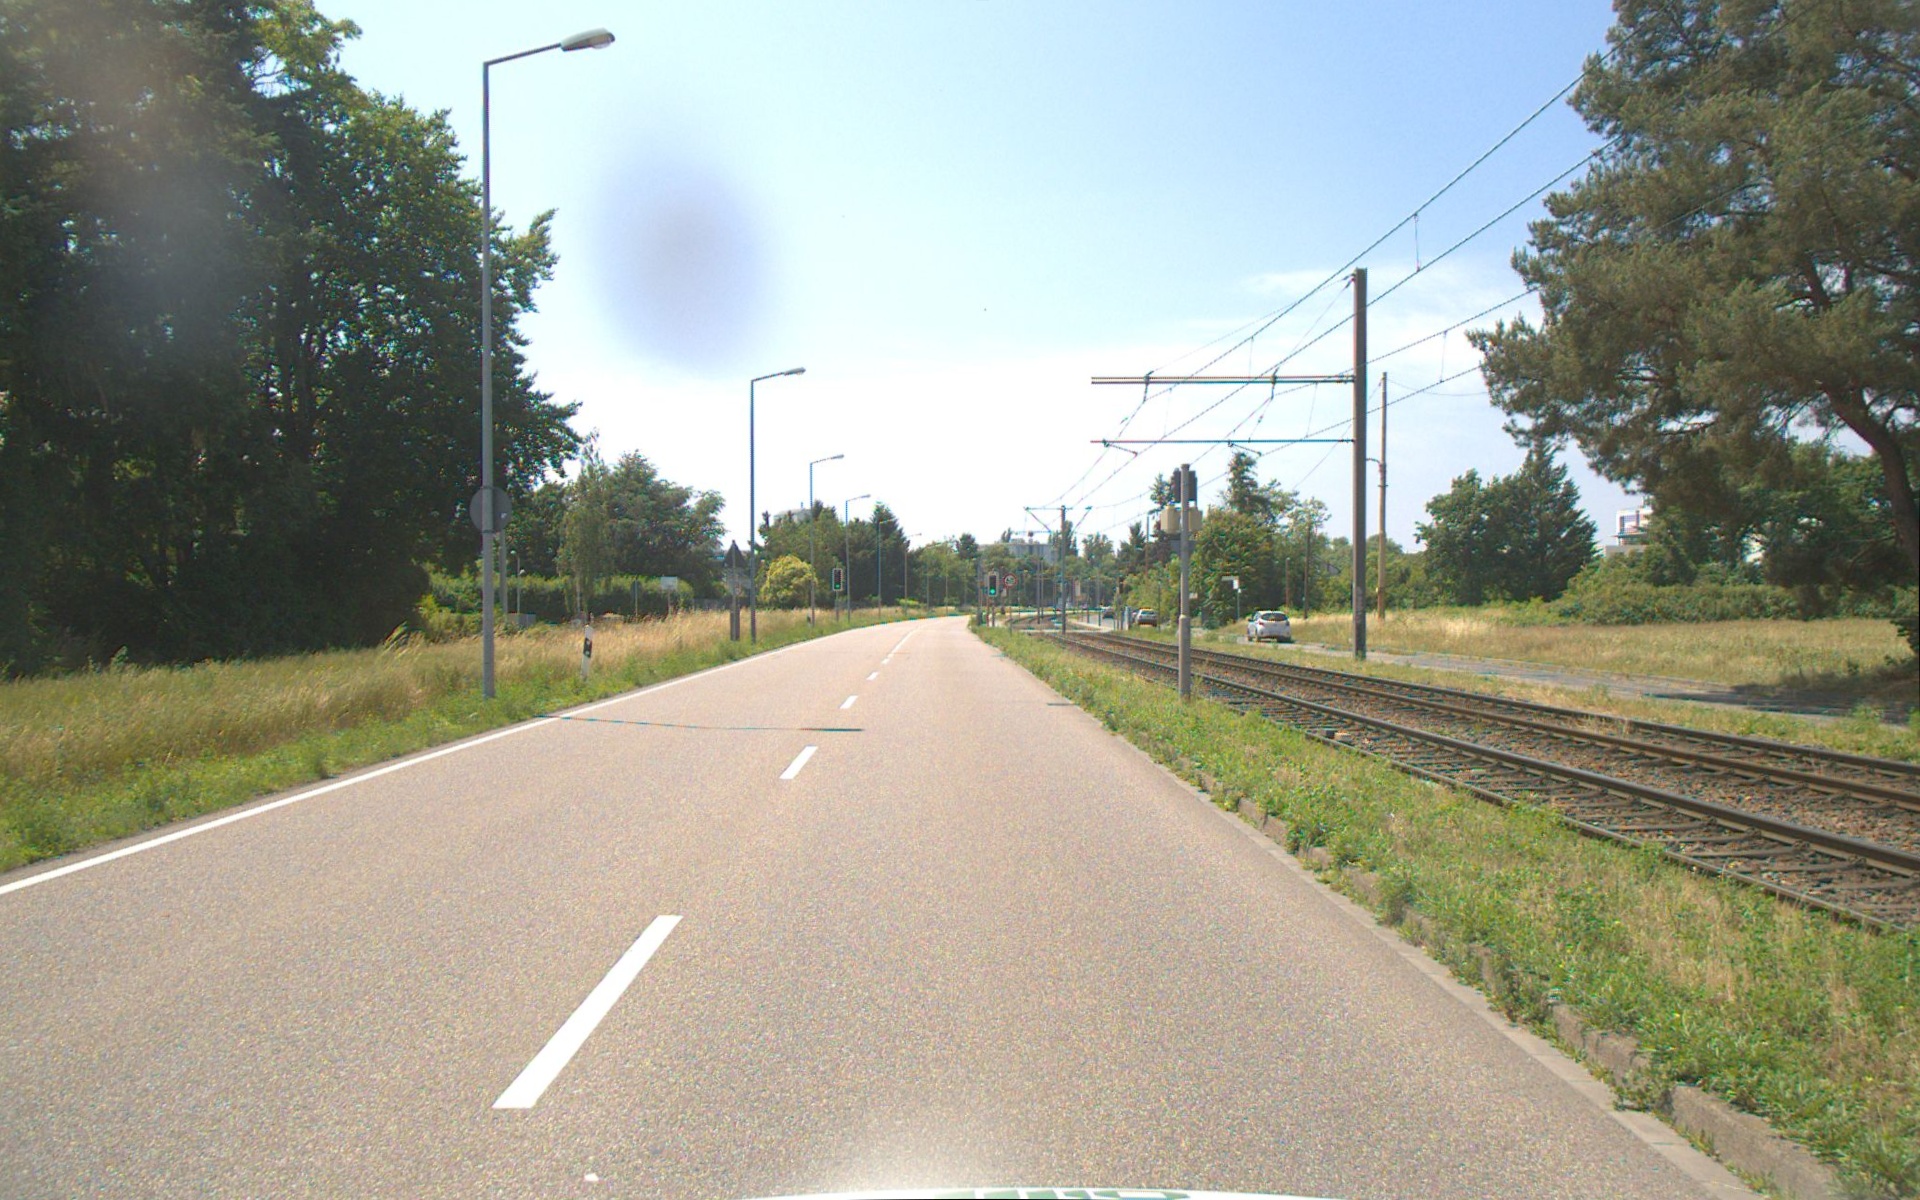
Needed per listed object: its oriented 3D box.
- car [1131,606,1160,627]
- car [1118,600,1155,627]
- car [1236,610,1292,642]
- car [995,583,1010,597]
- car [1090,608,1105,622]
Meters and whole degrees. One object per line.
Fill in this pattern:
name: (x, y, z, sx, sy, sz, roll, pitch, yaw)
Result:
car: (15.321, 1.397, 136.741, 1.876, 1.691, 3.999, -1, -1, -1)
car: (10.510, 0.811, 98.574, 1.709, 1.587, 3.999, -1, -1, -1)
car: (14.928, 1.271, 81.338, 1.953, 1.534, 3.999, -1, -1, -1)
car: (4.901, -1.151, 191.305, 1.520, 1.613, 3.568, -1, -1, -1)
car: (18.692, 2.059, 225.144, 1.721, 1.780, 3.999, -1, -1, -1)
